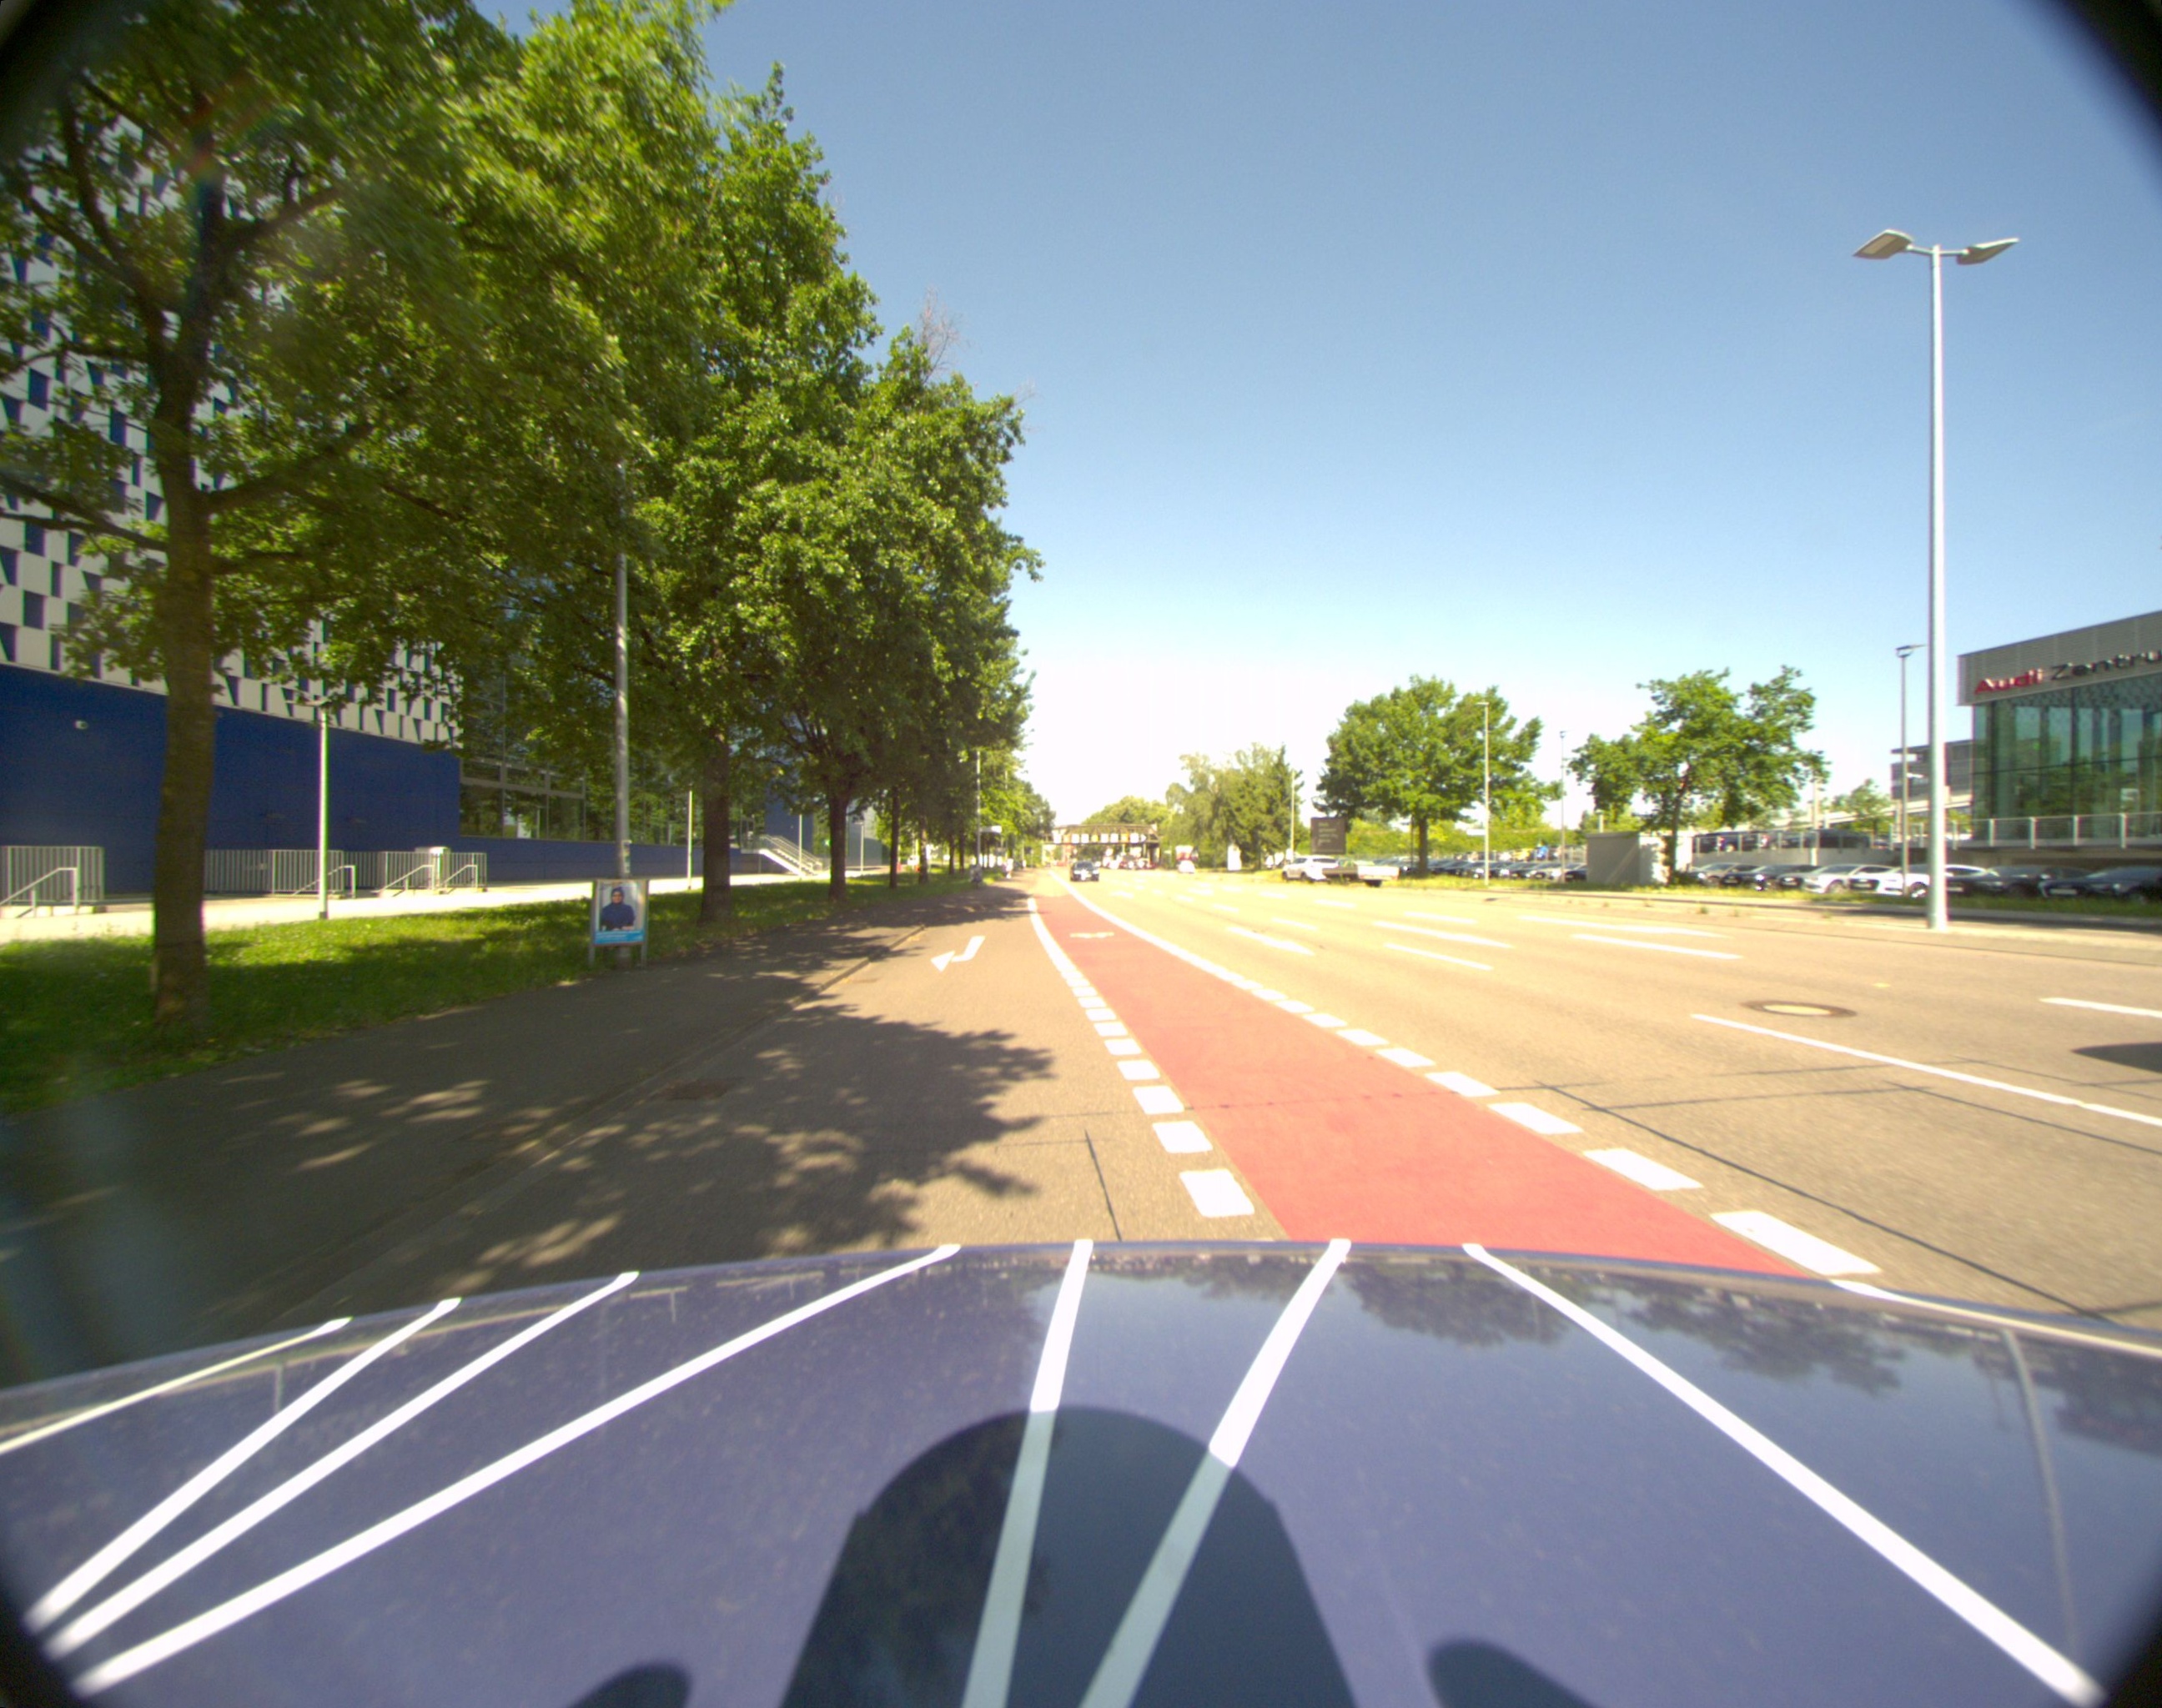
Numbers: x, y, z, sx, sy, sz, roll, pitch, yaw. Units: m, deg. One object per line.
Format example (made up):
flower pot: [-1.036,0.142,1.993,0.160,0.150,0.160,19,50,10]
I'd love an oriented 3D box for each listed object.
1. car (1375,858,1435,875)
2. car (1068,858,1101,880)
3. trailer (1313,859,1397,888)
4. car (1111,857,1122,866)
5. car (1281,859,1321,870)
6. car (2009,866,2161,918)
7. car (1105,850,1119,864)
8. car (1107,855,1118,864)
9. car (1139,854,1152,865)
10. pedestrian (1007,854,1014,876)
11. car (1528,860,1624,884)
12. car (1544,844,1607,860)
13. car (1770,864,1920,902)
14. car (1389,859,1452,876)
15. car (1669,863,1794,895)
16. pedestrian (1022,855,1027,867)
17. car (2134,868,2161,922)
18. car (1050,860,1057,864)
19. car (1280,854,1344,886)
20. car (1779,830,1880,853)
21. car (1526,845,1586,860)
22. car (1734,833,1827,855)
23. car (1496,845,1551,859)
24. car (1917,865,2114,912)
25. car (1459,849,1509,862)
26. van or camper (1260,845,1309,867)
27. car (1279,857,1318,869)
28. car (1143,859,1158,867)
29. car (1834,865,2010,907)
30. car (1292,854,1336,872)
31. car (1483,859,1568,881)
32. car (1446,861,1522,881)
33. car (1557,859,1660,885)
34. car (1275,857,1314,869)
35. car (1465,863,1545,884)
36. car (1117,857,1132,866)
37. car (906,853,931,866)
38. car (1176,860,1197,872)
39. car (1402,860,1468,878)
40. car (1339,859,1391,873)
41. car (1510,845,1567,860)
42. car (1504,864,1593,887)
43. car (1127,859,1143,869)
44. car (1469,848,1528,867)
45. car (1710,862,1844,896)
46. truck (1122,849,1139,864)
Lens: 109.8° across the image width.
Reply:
car: [27.546,1.059,64.758,4.277,1.342,1.954,0,0,-1]
car: [0.226,1.075,54.510,1.911,1.511,4.372,0,0,-6]
trailer: [14.582,0.986,40.802,1.999,1.444,5.769,0,0,-5]
car: [6.466,1.433,139.012,1.647,1.485,3.828,2,-2,-4]
car: [24.861,1.178,85.895,4.097,1.285,1.743,0,0,-1]
car: [29.351,1.039,21.487,3.998,1.368,1.924,0,0,-3]
car: [6.275,0.668,154.826,1.999,2.788,6.935,2,-1,-4]
car: [6.108,1.109,147.166,1.773,1.485,4.177,2,-2,-2]
car: [11.752,1.062,138.862,1.998,2.001,5.347,1,-1,2]
pedestrian: [-5.834,0.885,63.126,0.536,1.831,0.727,0,0,-3]
car: [28.509,1.023,43.870,4.277,1.342,1.954,0,0,-1]
car: [43.404,-0.173,66.792,4.277,1.342,1.953,0,0,-2]
car: [29.155,1.107,29.077,3.998,1.368,1.865,0,0,-3]
car: [27.722,1.125,62.206,4.277,1.342,1.954,0,0,-1]
car: [29.157,1.114,34.155,3.998,1.368,1.999,0,0,-3]
pedestrian: [-7.554,0.934,100.947,0.648,1.594,0.846,0,0,-2]
car: [29.417,1.047,18.875,3.998,1.368,1.924,0,0,-3]
car: [-8.155,2.401,227.781,1.824,1.346,3.998,0,0,-7]
car: [13.974,0.919,46.233,1.999,1.822,4.935,0,0,-5]
car: [44.921,-0.744,45.665,4.277,1.342,1.953,0,0,-2]
car: [43.507,-0.161,69.672,4.277,1.342,1.953,0,0,-2]
car: [44.756,-0.616,48.664,4.277,1.342,1.953,0,0,-2]
car: [43.243,-0.181,74.308,4.277,1.342,1.953,0,0,-2]
car: [29.333,1.055,23.948,3.998,1.368,1.924,0,0,-3]
car: [42.266,0.140,79.789,4.277,1.342,1.953,0,0,-2]
van or camper: [25.400,0.254,94.867,5.394,2.455,2.000,-2,-1,-5]
car: [25.335,1.083,88.618,4.096,1.346,1.744,0,1,3]
car: [11.964,1.561,130.595,1.999,1.405,4.680,0,0,-3]
car: [29.320,1.100,26.592,4.053,1.368,2.025,0,0,-3]
car: [25.541,0.969,83.318,4.277,1.873,1.954,0,0,-1]
car: [28.370,1.032,48.546,4.277,1.342,1.954,0,0,-1]
car: [28.072,1.147,53.038,4.277,1.342,1.954,0,0,-1]
car: [28.543,0.981,41.209,4.277,1.342,1.954,0,0,-1]
car: [25.450,1.065,90.688,4.096,1.430,1.744,0,0,3]
car: [28.335,1.302,50.841,4.277,1.342,1.954,0,0,-1]
car: [7.057,1.216,122.544,1.846,1.455,4.999,3,0,-2]
car: [-24.104,0.787,112.831,1.908,1.818,4.185,0,0,14]
car: [12.969,1.488,93.610,1.659,1.455,3.548,2,0,-6]
car: [27.615,1.150,59.354,4.277,1.342,1.954,0,0,-1]
car: [27.060,1.156,72.508,4.277,1.342,1.954,0,0,-1]
car: [43.254,-0.158,71.926,4.277,1.342,1.953,0,0,-2]
car: [28.537,1.296,46.451,4.277,1.342,1.954,0,0,-1]
car: [7.914,1.482,111.191,1.788,1.406,3.999,2,0,-3]
car: [37.469,0.342,68.227,4.277,1.633,1.954,0,0,-1]
car: [28.981,1.026,31.714,3.998,1.368,1.865,0,0,-3]
truck: [10.373,0.562,160.367,2.348,3.070,7.066,0,0,-6]
